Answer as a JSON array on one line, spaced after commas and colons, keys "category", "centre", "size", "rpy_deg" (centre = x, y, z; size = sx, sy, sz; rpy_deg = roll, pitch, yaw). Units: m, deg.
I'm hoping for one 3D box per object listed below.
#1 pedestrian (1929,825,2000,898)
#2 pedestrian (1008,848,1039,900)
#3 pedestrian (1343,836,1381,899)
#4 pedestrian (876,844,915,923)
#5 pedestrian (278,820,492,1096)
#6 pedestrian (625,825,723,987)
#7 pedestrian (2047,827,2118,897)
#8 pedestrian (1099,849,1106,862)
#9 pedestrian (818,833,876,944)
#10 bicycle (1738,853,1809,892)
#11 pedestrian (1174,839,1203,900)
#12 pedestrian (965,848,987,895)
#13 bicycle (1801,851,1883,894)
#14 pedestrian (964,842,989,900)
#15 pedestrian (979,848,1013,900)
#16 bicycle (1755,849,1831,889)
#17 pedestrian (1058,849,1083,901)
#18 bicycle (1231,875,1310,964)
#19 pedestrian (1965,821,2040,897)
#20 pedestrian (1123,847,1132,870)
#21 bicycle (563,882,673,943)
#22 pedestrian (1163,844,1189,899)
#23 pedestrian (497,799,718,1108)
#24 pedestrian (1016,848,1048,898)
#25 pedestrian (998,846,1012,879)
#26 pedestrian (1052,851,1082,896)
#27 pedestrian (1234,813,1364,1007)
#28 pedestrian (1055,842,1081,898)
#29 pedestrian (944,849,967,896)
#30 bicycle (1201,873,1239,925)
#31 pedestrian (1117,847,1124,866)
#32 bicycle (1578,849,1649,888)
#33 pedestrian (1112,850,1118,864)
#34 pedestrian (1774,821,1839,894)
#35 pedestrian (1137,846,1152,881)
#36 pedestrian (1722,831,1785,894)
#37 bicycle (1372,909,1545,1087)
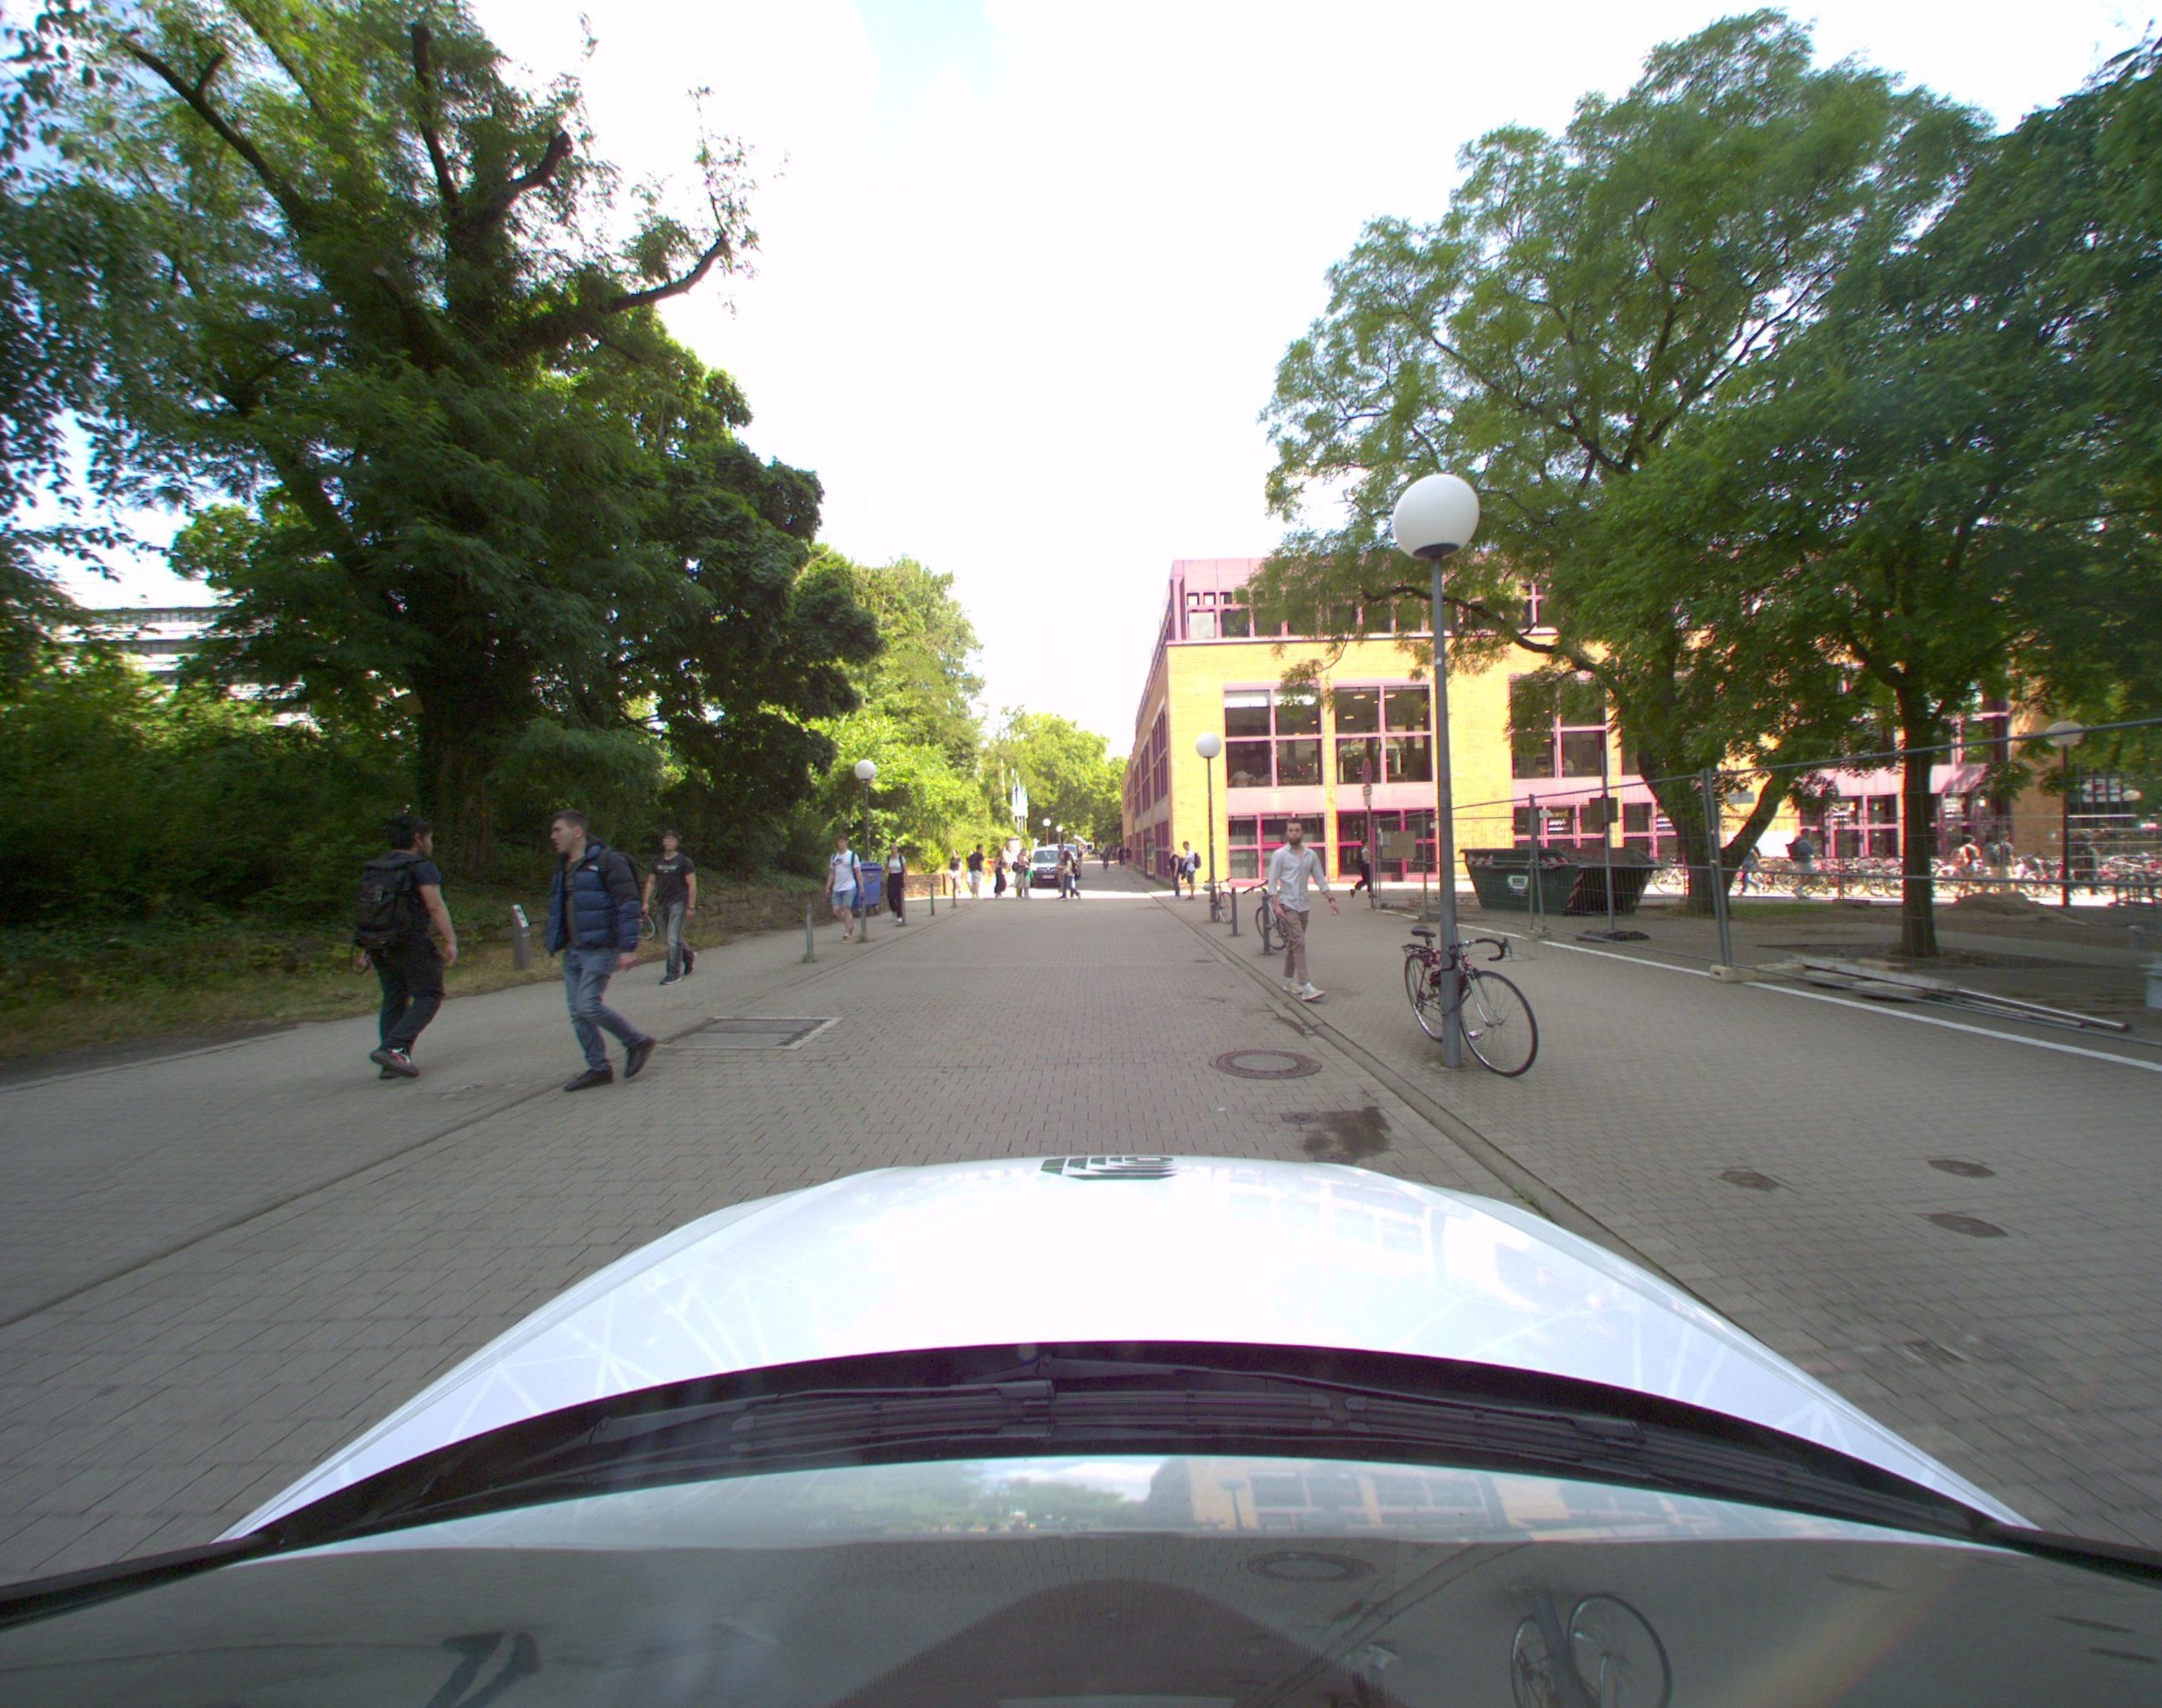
[{"category": "pedestrian", "centre": [21.588, 0.192, 19.921], "size": [0.900, 1.728, 0.684], "rpy_deg": [-2, -3, -4]}, {"category": "pedestrian", "centre": [-1.873, 0.645, 26.737], "size": [0.881, 1.672, 0.560], "rpy_deg": [-1, -1, 8]}, {"category": "pedestrian", "centre": [7.609, 0.367, 22.061], "size": [0.847, 1.651, 0.589], "rpy_deg": [-1, -1, 8]}, {"category": "pedestrian", "centre": [-4.223, 0.657, 18.603], "size": [0.681, 1.728, 1.001], "rpy_deg": [-1, -1, -3]}, {"category": "pedestrian", "centre": [-4.699, 0.653, 5.570], "size": [0.682, 1.724, 0.904], "rpy_deg": [0, 0, -1]}, {"category": "pedestrian", "centre": [-5.001, 0.613, 10.068], "size": [0.681, 1.873, 1.119], "rpy_deg": [-1, -1, -3]}, {"category": "pedestrian", "centre": [25.640, 0.214, 20.860], "size": [0.900, 1.728, 0.684], "rpy_deg": [-2, -3, -4]}, {"category": "pedestrian", "centre": [2.803, 0.214, 105.401], "size": [0.722, 1.672, 0.748], "rpy_deg": [-3, -1, 2]}, {"category": "pedestrian", "centre": [-4.121, 0.597, 14.401], "size": [0.722, 1.881, 1.082], "rpy_deg": [-1, -1, -1]}, {"category": "bicycle", "centre": [21.046, 0.557, 24.755], "size": [1.801, 1.169, 0.474], "rpy_deg": [0, 0, -1]}, {"category": "pedestrian", "centre": [3.286, 0.464, 24.836], "size": [0.762, 1.794, 0.589], "rpy_deg": [-3, -1, 8]}, {"category": "pedestrian", "centre": [-3.743, 0.622, 29.058], "size": [0.681, 1.620, 0.912], "rpy_deg": [-1, -1, -3]}, {"category": "bicycle", "centre": [21.352, 0.511, 22.868], "size": [1.798, 1.169, 0.475], "rpy_deg": [0, 0, 4]}, {"category": "pedestrian", "centre": [-3.430, 0.554, 26.758], "size": [0.680, 1.844, 0.783], "rpy_deg": [-1, -1, 1]}, {"category": "pedestrian", "centre": [-2.862, 0.671, 27.474], "size": [0.881, 1.672, 0.645], "rpy_deg": [-3, 1, 8]}, {"category": "bicycle", "centre": [20.972, 0.433, 24.006], "size": [1.799, 1.169, 0.474], "rpy_deg": [0, 0, 1]}, {"category": "pedestrian", "centre": [-0.329, 0.670, 26.289], "size": [0.778, 1.620, 0.684], "rpy_deg": [-1, -1, -1]}, {"category": "bicycle", "centre": [2.624, 0.873, 11.465], "size": [0.706, 1.093, 1.749], "rpy_deg": [-1, 0, 1]}, {"category": "pedestrian", "centre": [21.618, 0.126, 19.116], "size": [0.900, 1.728, 0.684], "rpy_deg": [-2, -3, -4]}, {"category": "pedestrian", "centre": [3.570, 0.359, 62.223], "size": [0.584, 1.672, 0.699], "rpy_deg": [-3, -1, 2]}, {"category": "bicycle", "centre": [-7.451, 0.915, 13.202], "size": [0.418, 0.910, 1.747], "rpy_deg": [-1, -2, 16]}, {"category": "pedestrian", "centre": [2.999, 0.548, 25.662], "size": [0.692, 1.672, 0.589], "rpy_deg": [-3, -1, 8]}, {"category": "pedestrian", "centre": [-3.216, 0.596, 5.563], "size": [0.877, 1.857, 1.039], "rpy_deg": [-1, 0, 37]}, {"category": "pedestrian", "centre": [-1.675, 0.642, 27.973], "size": [0.924, 1.672, 0.589], "rpy_deg": [-2, -1, 8]}, {"category": "pedestrian", "centre": [-4.290, 0.458, 46.244], "size": [0.680, 1.844, 0.783], "rpy_deg": [-1, -1, 1]}, {"category": "pedestrian", "centre": [-0.501, 0.681, 28.553], "size": [0.881, 1.542, 0.744], "rpy_deg": [-2, 0, 8]}, {"category": "pedestrian", "centre": [2.230, 0.530, 8.434], "size": [0.786, 1.845, 1.109], "rpy_deg": [0, 0, -23]}, {"category": "pedestrian", "centre": [-0.445, 0.538, 27.133], "size": [0.823, 1.844, 0.684], "rpy_deg": [-1, -1, -1]}, {"category": "pedestrian", "centre": [-4.460, 0.641, 28.945], "size": [0.681, 1.620, 0.977], "rpy_deg": [-1, -1, -3]}, {"category": "bicycle", "centre": [2.903, 0.909, 17.094], "size": [0.449, 0.962, 1.740], "rpy_deg": [-4, 0, 1]}, {"category": "pedestrian", "centre": [3.724, 0.233, 76.077], "size": [0.584, 1.672, 0.818], "rpy_deg": [-3, -1, 2]}, {"category": "bicycle", "centre": [15.356, 0.421, 23.493], "size": [1.686, 1.110, 0.475], "rpy_deg": [0, 0, 4]}, {"category": "pedestrian", "centre": [4.596, 0.391, 110.795], "size": [0.651, 1.922, 0.818], "rpy_deg": [-3, -1, 2]}, {"category": "pedestrian", "centre": [17.844, 0.101, 20.039], "size": [0.900, 1.728, 0.684], "rpy_deg": [-2, -3, -4]}, {"category": "pedestrian", "centre": [3.246, 0.475, 41.738], "size": [0.680, 1.747, 0.783], "rpy_deg": [-1, -1, 1]}, {"category": "pedestrian", "centre": [17.882, 0.226, 21.680], "size": [1.038, 1.651, 0.705], "rpy_deg": [-1, -1, 8]}, {"category": "bicycle", "centre": [2.589, 0.928, 5.781], "size": [0.394, 0.936, 1.732], "rpy_deg": [-3, 0, 1]}]
